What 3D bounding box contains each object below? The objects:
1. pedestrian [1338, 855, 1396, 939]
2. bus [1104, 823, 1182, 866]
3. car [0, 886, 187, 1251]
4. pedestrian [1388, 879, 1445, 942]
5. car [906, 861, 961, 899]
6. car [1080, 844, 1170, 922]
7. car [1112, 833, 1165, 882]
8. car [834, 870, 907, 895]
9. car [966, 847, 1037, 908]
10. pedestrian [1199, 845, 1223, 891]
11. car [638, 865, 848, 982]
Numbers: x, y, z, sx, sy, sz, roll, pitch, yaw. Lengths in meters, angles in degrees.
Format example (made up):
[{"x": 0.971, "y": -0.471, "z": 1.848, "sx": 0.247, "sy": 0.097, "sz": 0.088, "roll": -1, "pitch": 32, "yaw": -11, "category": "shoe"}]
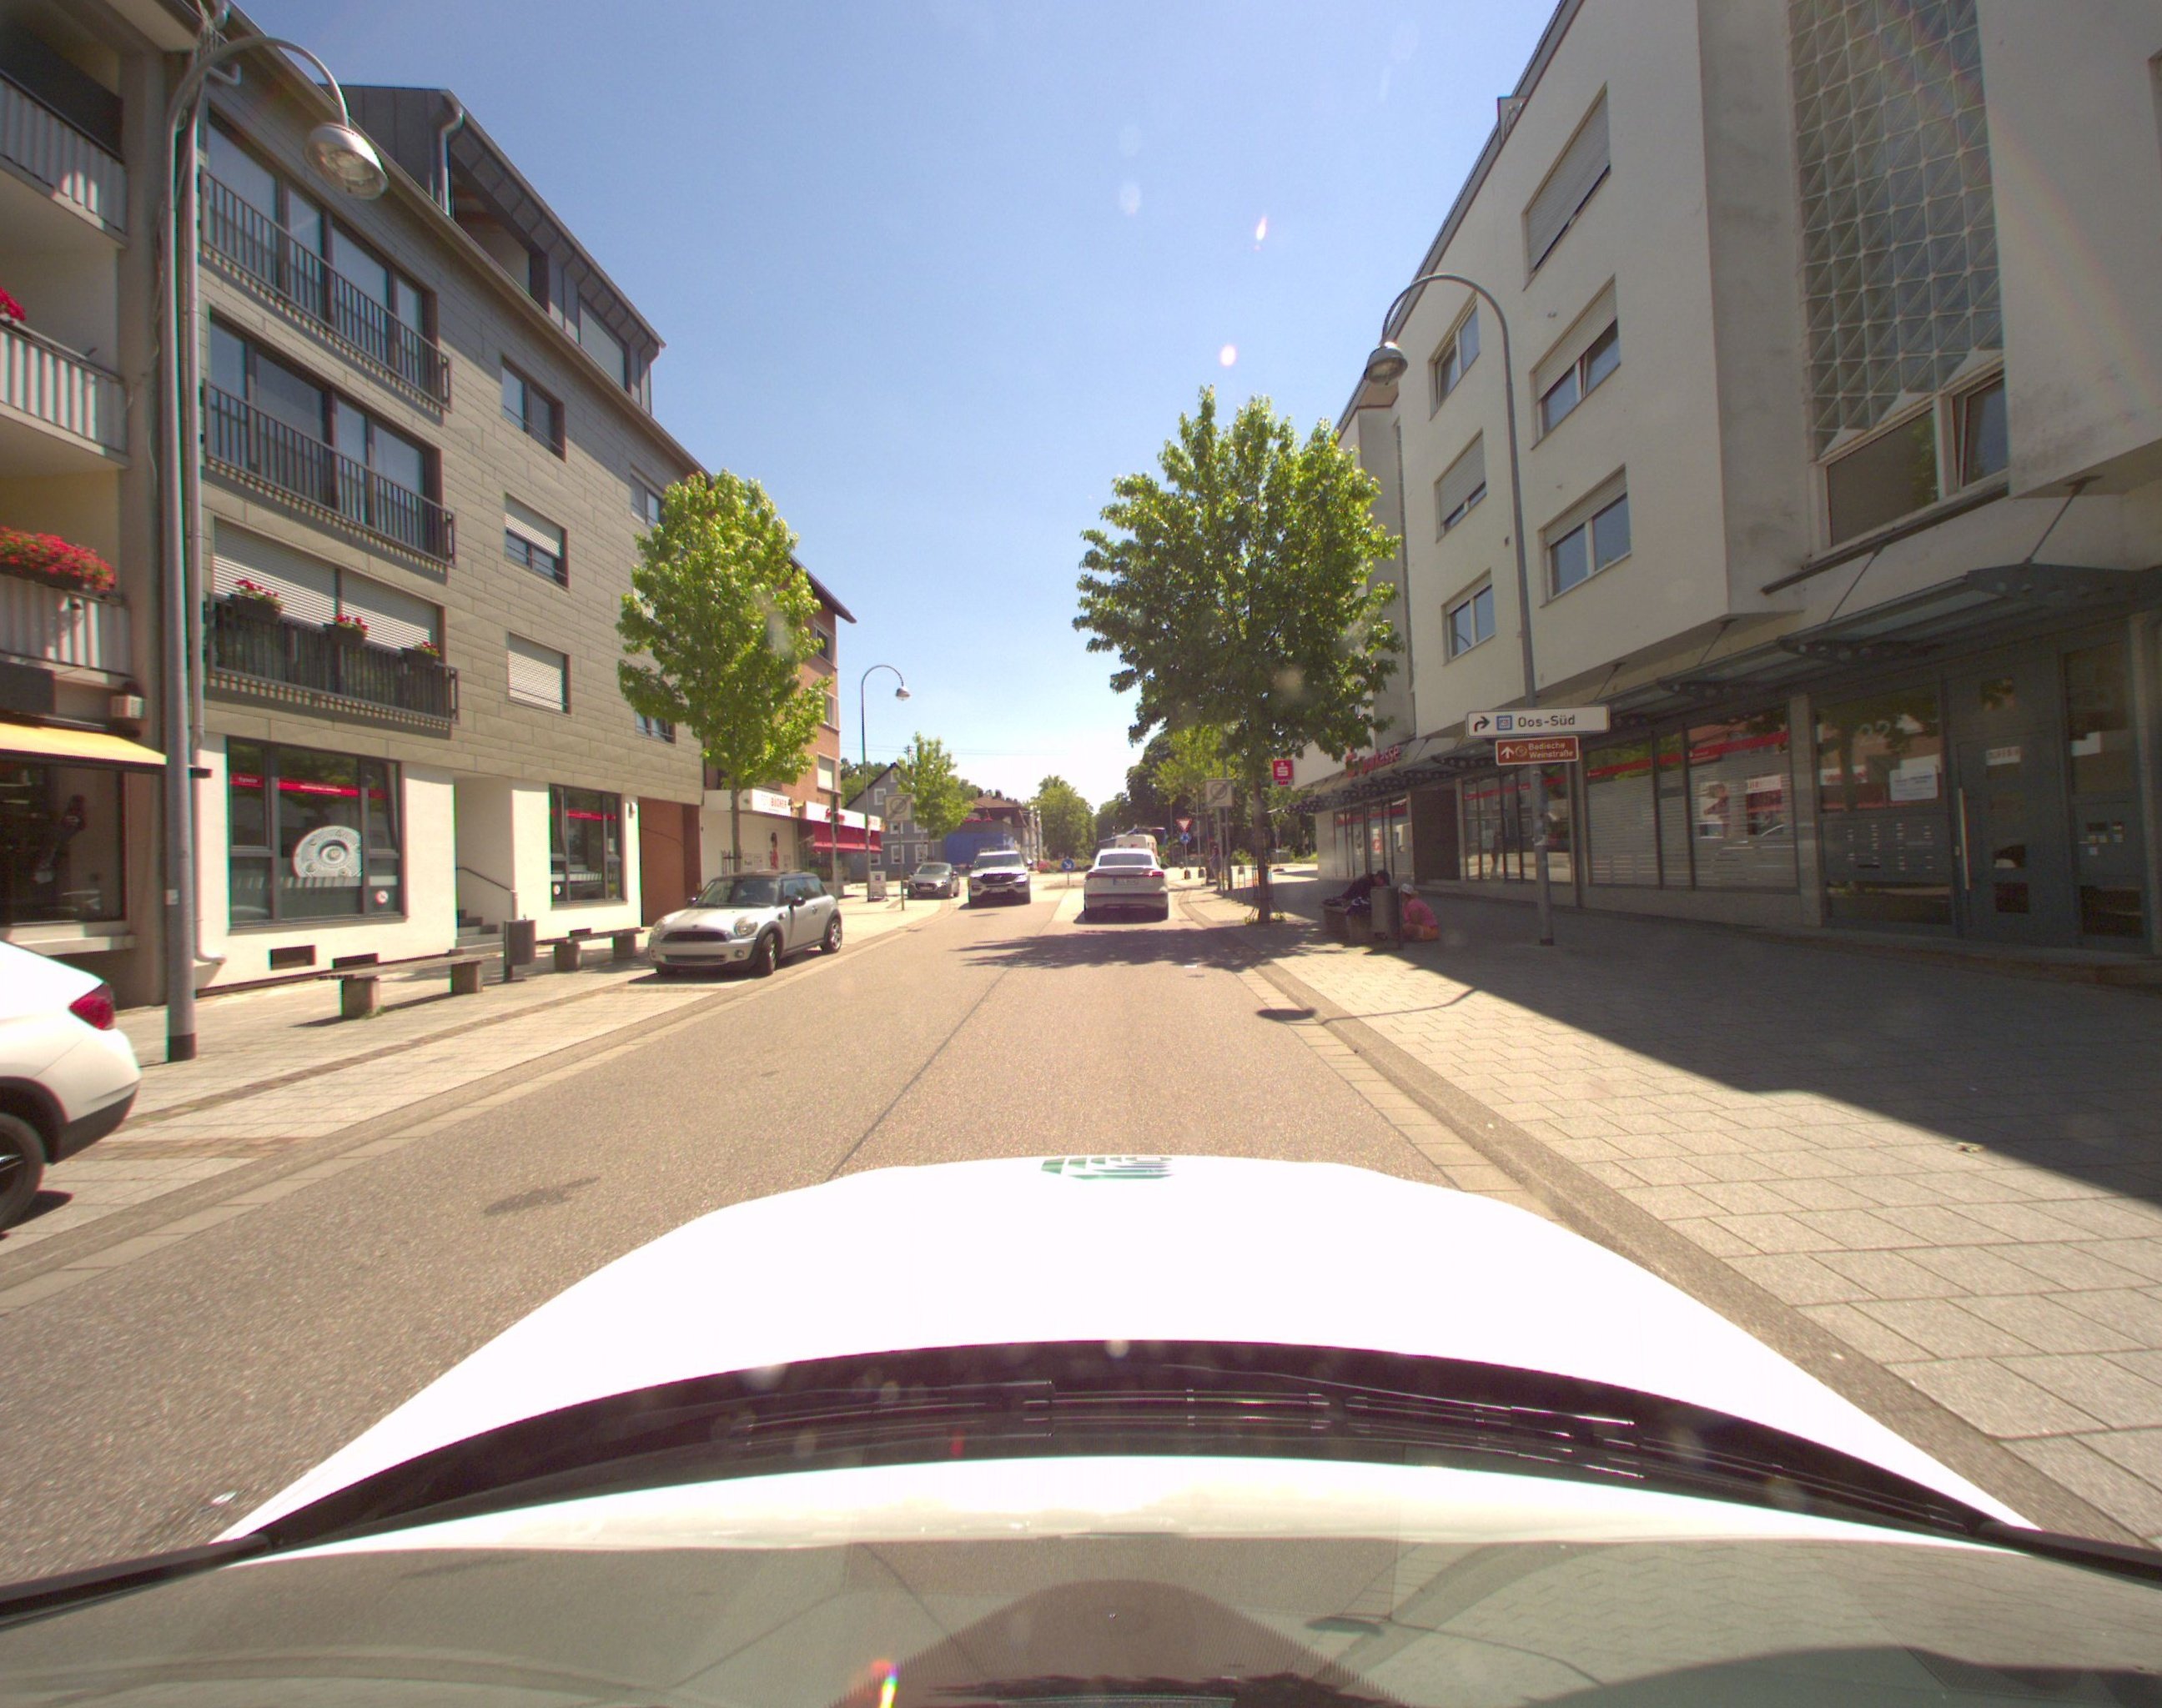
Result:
[{"x": 4.391, "y": 0.654, "z": 12.560, "sx": 0.754, "sy": 1.240, "sz": 0.540, "roll": -3, "pitch": -1, "yaw": 16, "category": "pedestrian"}, {"x": 4.881, "y": -0.581, "z": 70.014, "sx": 3.701, "sy": 3.171, "sz": 18.032, "roll": 0, "pitch": -1, "yaw": -5, "category": "bus"}, {"x": -5.700, "y": 0.967, "z": 2.214, "sx": 1.688, "sy": 1.592, "sz": 4.302, "roll": -1, "pitch": 0, "yaw": 2, "category": "car"}, {"x": 4.892, "y": 0.822, "z": 11.902, "sx": 0.672, "sy": 0.852, "sz": 0.540, "roll": -3, "pitch": -1, "yaw": 16, "category": "pedestrian"}, {"x": -6.110, "y": 1.062, "z": 34.158, "sx": 1.662, "sy": 1.486, "sz": 4.058, "roll": 0, "pitch": 0, "yaw": -2, "category": "car"}, {"x": 1.044, "y": 0.628, "z": 19.661, "sx": 1.890, "sy": 1.662, "sz": 4.412, "roll": -1, "pitch": 0, "yaw": 3, "category": "car"}, {"x": 3.290, "y": 0.171, "z": 45.578, "sx": 1.979, "sy": 2.481, "sz": 5.505, "roll": -2, "pitch": 0, "yaw": 14, "category": "car"}, {"x": -14.245, "y": 1.931, "z": 55.369, "sx": 4.408, "sy": 1.457, "sz": 1.769, "roll": -3, "pitch": 0, "yaw": 1, "category": "car"}, {"x": -2.589, "y": 0.742, "z": 27.532, "sx": 1.895, "sy": 1.754, "sz": 4.754, "roll": -4, "pitch": 0, "yaw": -1, "category": "car"}, {"x": 4.688, "y": 0.503, "z": 29.354, "sx": 0.729, "sy": 1.610, "sz": 0.560, "roll": -3, "pitch": -1, "yaw": 3, "category": "pedestrian"}, {"x": -5.031, "y": 0.955, "z": 12.669, "sx": 1.615, "sy": 1.473, "sz": 3.550, "roll": -2, "pitch": 0, "yaw": 2, "category": "car"}]
